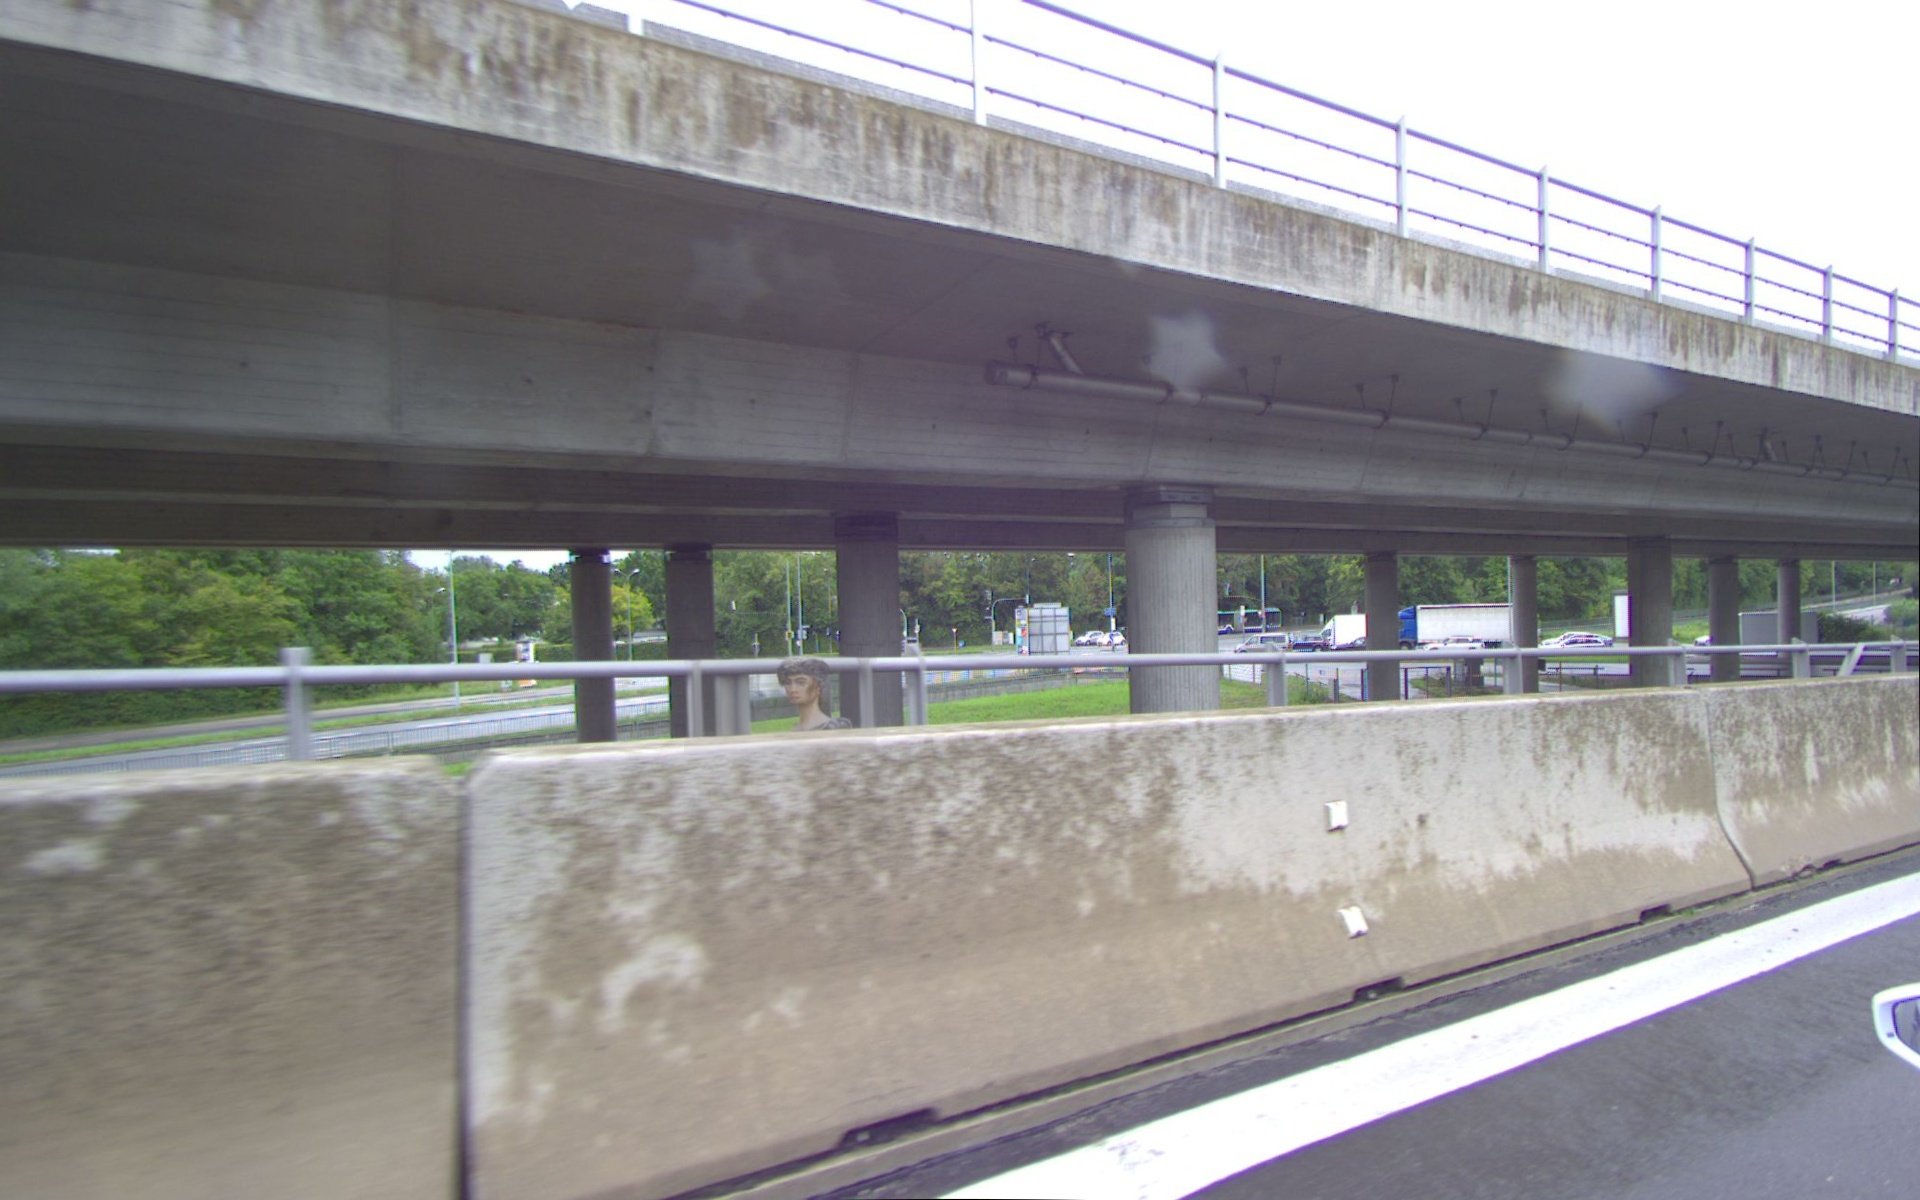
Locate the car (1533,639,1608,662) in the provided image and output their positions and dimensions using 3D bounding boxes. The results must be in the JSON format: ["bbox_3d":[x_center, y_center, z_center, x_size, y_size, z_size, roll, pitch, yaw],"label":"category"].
[{"bbox_3d":[45.568,3.750,75.072,4.503,1.604,1.974,0,-1,23],"label":"car"}]

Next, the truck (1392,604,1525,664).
[{"bbox_3d":[39.983,2.707,80.954,9.421,4.652,2.797,0,-1,26],"label":"truck"}]

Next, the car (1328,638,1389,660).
[{"bbox_3d":[32.225,3.933,81.215,4.503,1.604,1.974,1,-1,24],"label":"car"}]

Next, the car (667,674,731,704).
[{"bbox_3d":[-18.179,6.192,70.051,3.965,1.640,1.828,-1,3,-39],"label":"car"}]

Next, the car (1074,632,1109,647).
[{"bbox_3d":[15.256,4.603,116.655,3.961,1.583,1.781,0,-2,-36],"label":"car"}]

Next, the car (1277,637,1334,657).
[{"bbox_3d":[29.541,3.975,85.854,4.503,1.627,1.974,0,-1,23],"label":"car"}]

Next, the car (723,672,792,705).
[{"bbox_3d":[-13.880,6.030,68.923,4.327,1.773,1.790,-1,3,-39],"label":"car"}]

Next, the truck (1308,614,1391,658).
[{"bbox_3d":[34.009,3.132,87.698,6.519,3.728,2.797,0,-1,25],"label":"truck"}]

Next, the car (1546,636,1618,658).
[{"bbox_3d":[47.768,3.595,77.260,4.505,1.604,1.973,0,-1,26],"label":"car"}]

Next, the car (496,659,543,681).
[{"bbox_3d":[-45.208,7.122,103.034,4.472,2.040,1.998,0,-1,26],"label":"car"}]

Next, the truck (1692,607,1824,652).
[{"bbox_3d":[57.446,2.103,72.495,7.099,3.016,2.257,1,-1,28],"label":"truck"}]

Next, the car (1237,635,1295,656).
[{"bbox_3d":[25.668,3.778,84.319,4.503,1.627,1.974,0,-1,23],"label":"car"}]

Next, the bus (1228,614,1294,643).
[{"bbox_3d":[41.102,3.937,136.917,9.787,3.750,2.215,2,0,-28],"label":"bus"}]

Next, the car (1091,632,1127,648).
[{"bbox_3d":[16.864,4.530,113.692,3.961,1.728,1.781,0,-2,-36],"label":"car"}]

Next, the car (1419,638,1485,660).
[{"bbox_3d":[38.366,3.776,78.484,4.503,1.604,1.974,0,-1,23],"label":"car"}]

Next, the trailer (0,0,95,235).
[{"bbox_3d":[-14.434,-5.543,5.864,13.906,3.342,2.642,0,1,-33],"label":"trailer"}]

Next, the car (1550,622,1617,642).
[{"bbox_3d":[51.280,2.593,82.736,4.507,1.604,1.973,0,-1,28],"label":"car"}]
